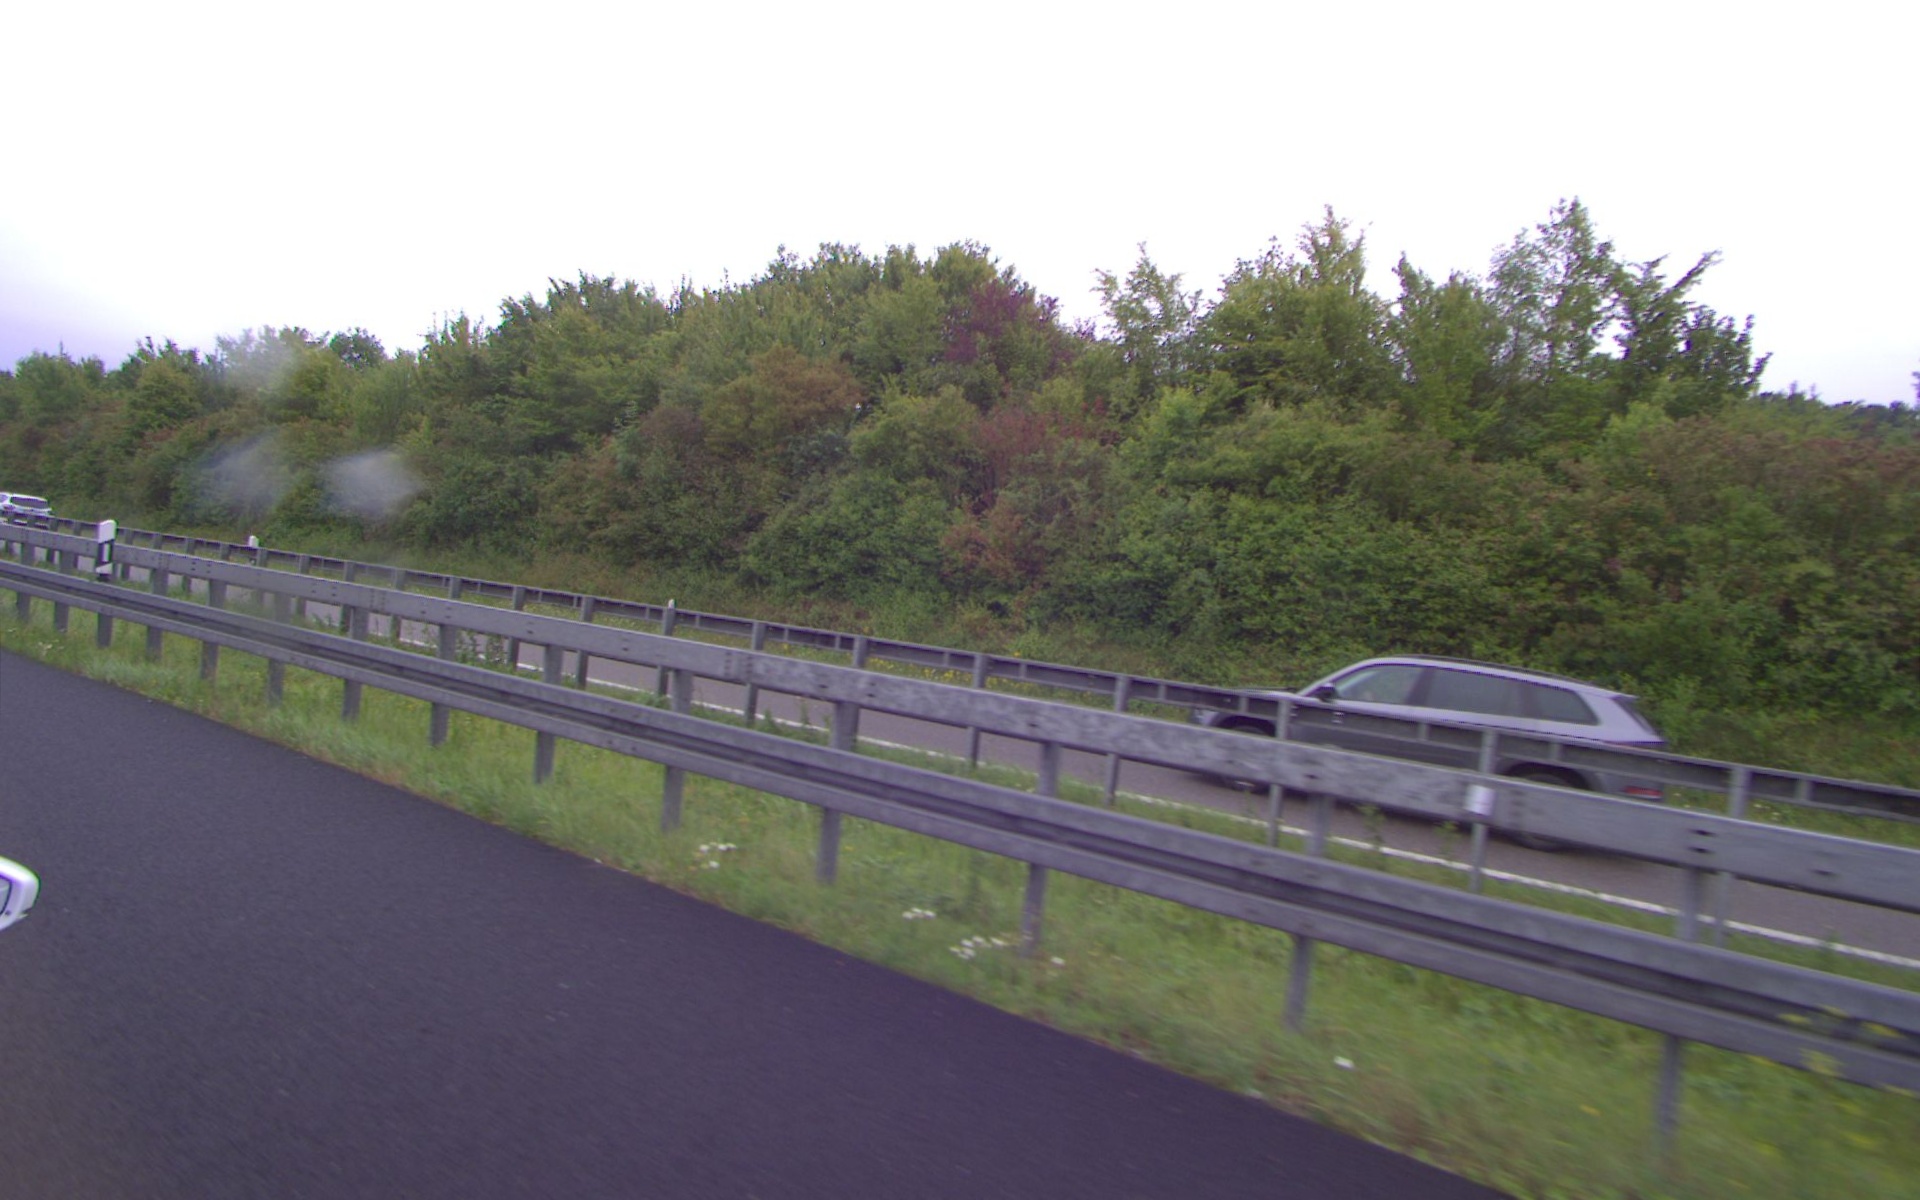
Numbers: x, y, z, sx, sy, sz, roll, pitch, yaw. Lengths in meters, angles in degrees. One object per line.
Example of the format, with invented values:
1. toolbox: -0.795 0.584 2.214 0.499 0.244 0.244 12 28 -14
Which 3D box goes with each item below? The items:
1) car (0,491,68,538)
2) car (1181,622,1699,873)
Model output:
1. car: -39.721 -3.681 42.463 4.077 1.632 1.899 7 -1 32
2. car: 4.865 1.371 10.634 4.397 1.675 2.011 7 -1 31
